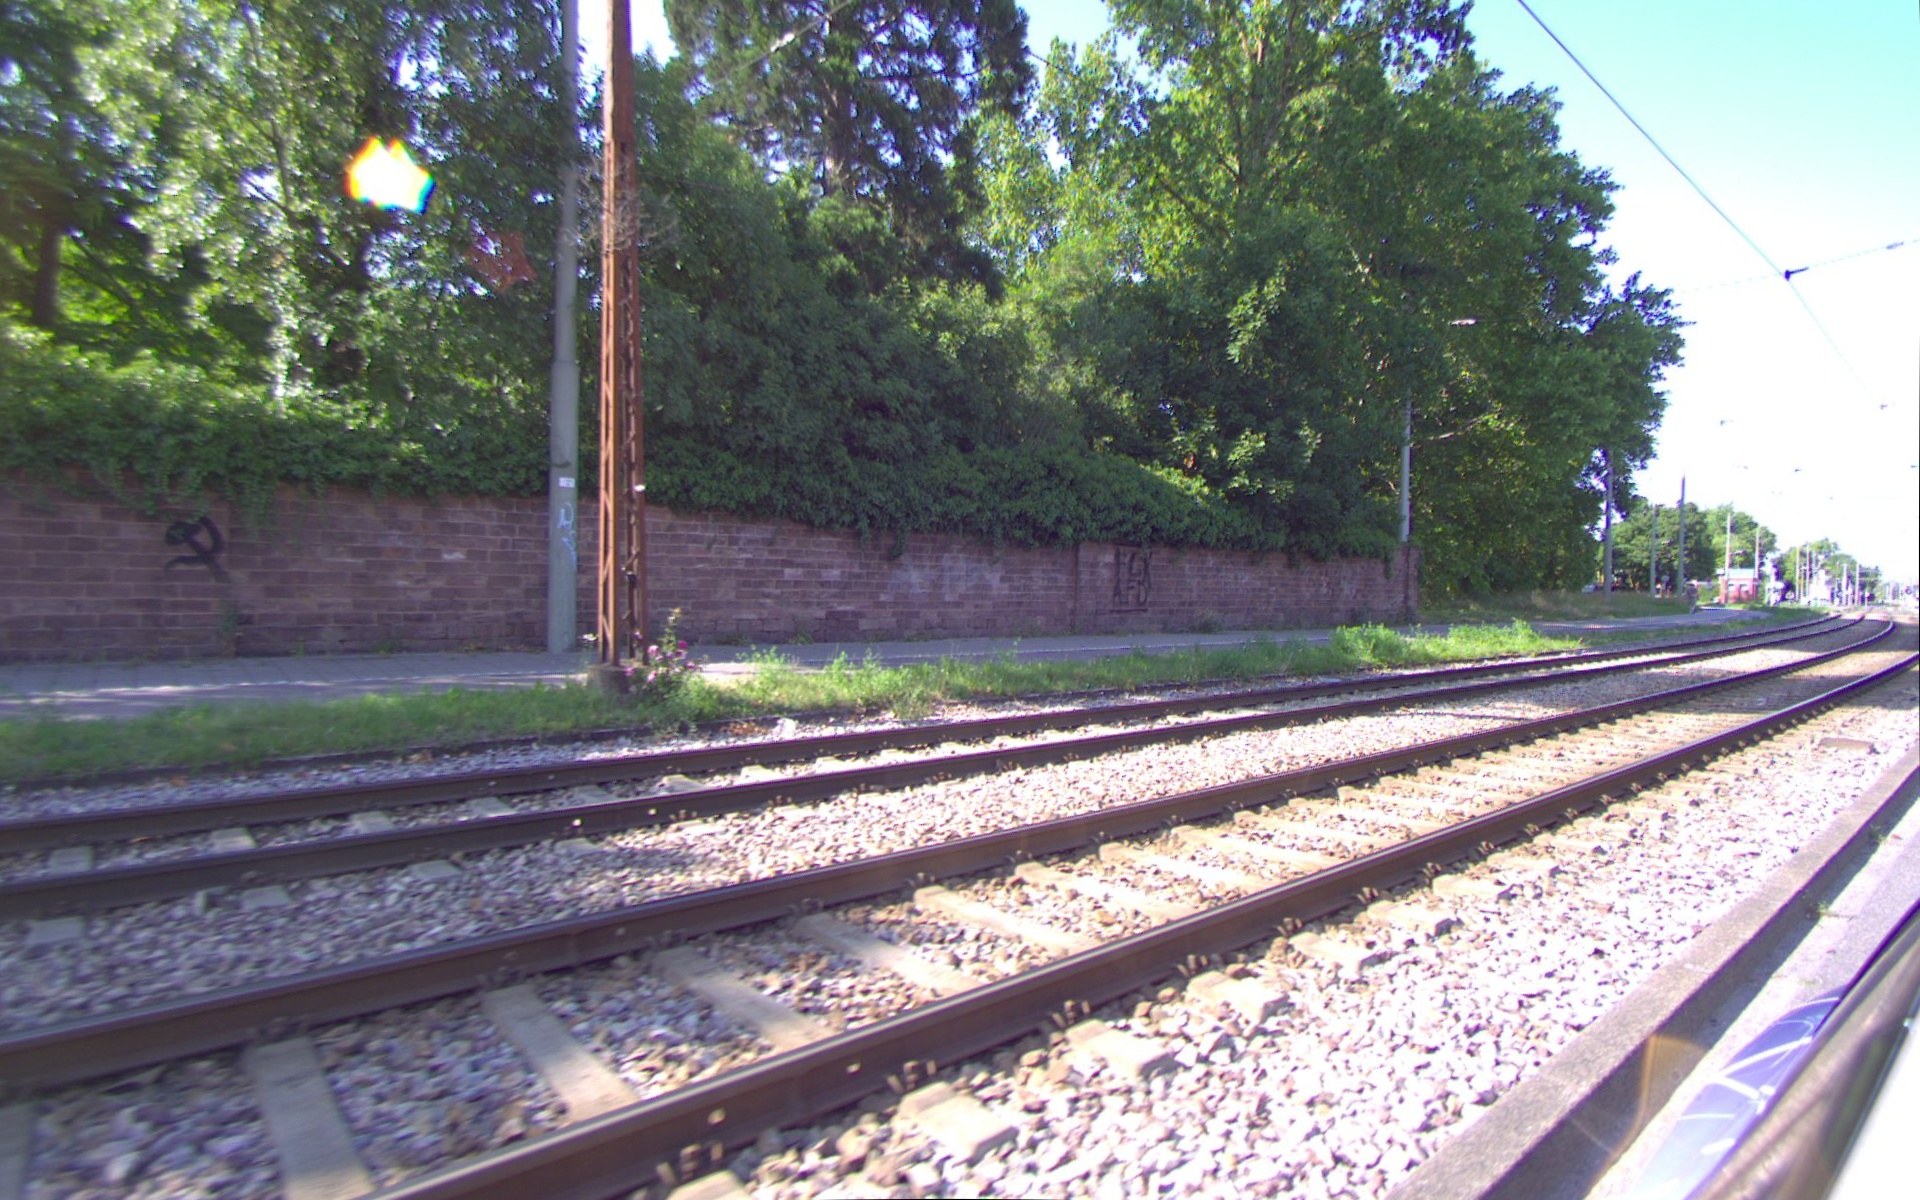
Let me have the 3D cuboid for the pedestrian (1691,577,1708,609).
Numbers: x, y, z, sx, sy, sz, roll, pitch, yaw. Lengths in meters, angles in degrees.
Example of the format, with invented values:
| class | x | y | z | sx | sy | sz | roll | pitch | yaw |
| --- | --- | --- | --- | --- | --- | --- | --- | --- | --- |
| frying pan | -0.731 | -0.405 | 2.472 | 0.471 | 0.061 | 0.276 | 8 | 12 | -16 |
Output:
| class | x | y | z | sx | sy | sz | roll | pitch | yaw |
| --- | --- | --- | --- | --- | --- | --- | --- | --- | --- |
| pedestrian | 40.305 | -0.365 | 55.156 | 0.869 | 1.737 | 0.501 | 1 | 1 | -38 |
